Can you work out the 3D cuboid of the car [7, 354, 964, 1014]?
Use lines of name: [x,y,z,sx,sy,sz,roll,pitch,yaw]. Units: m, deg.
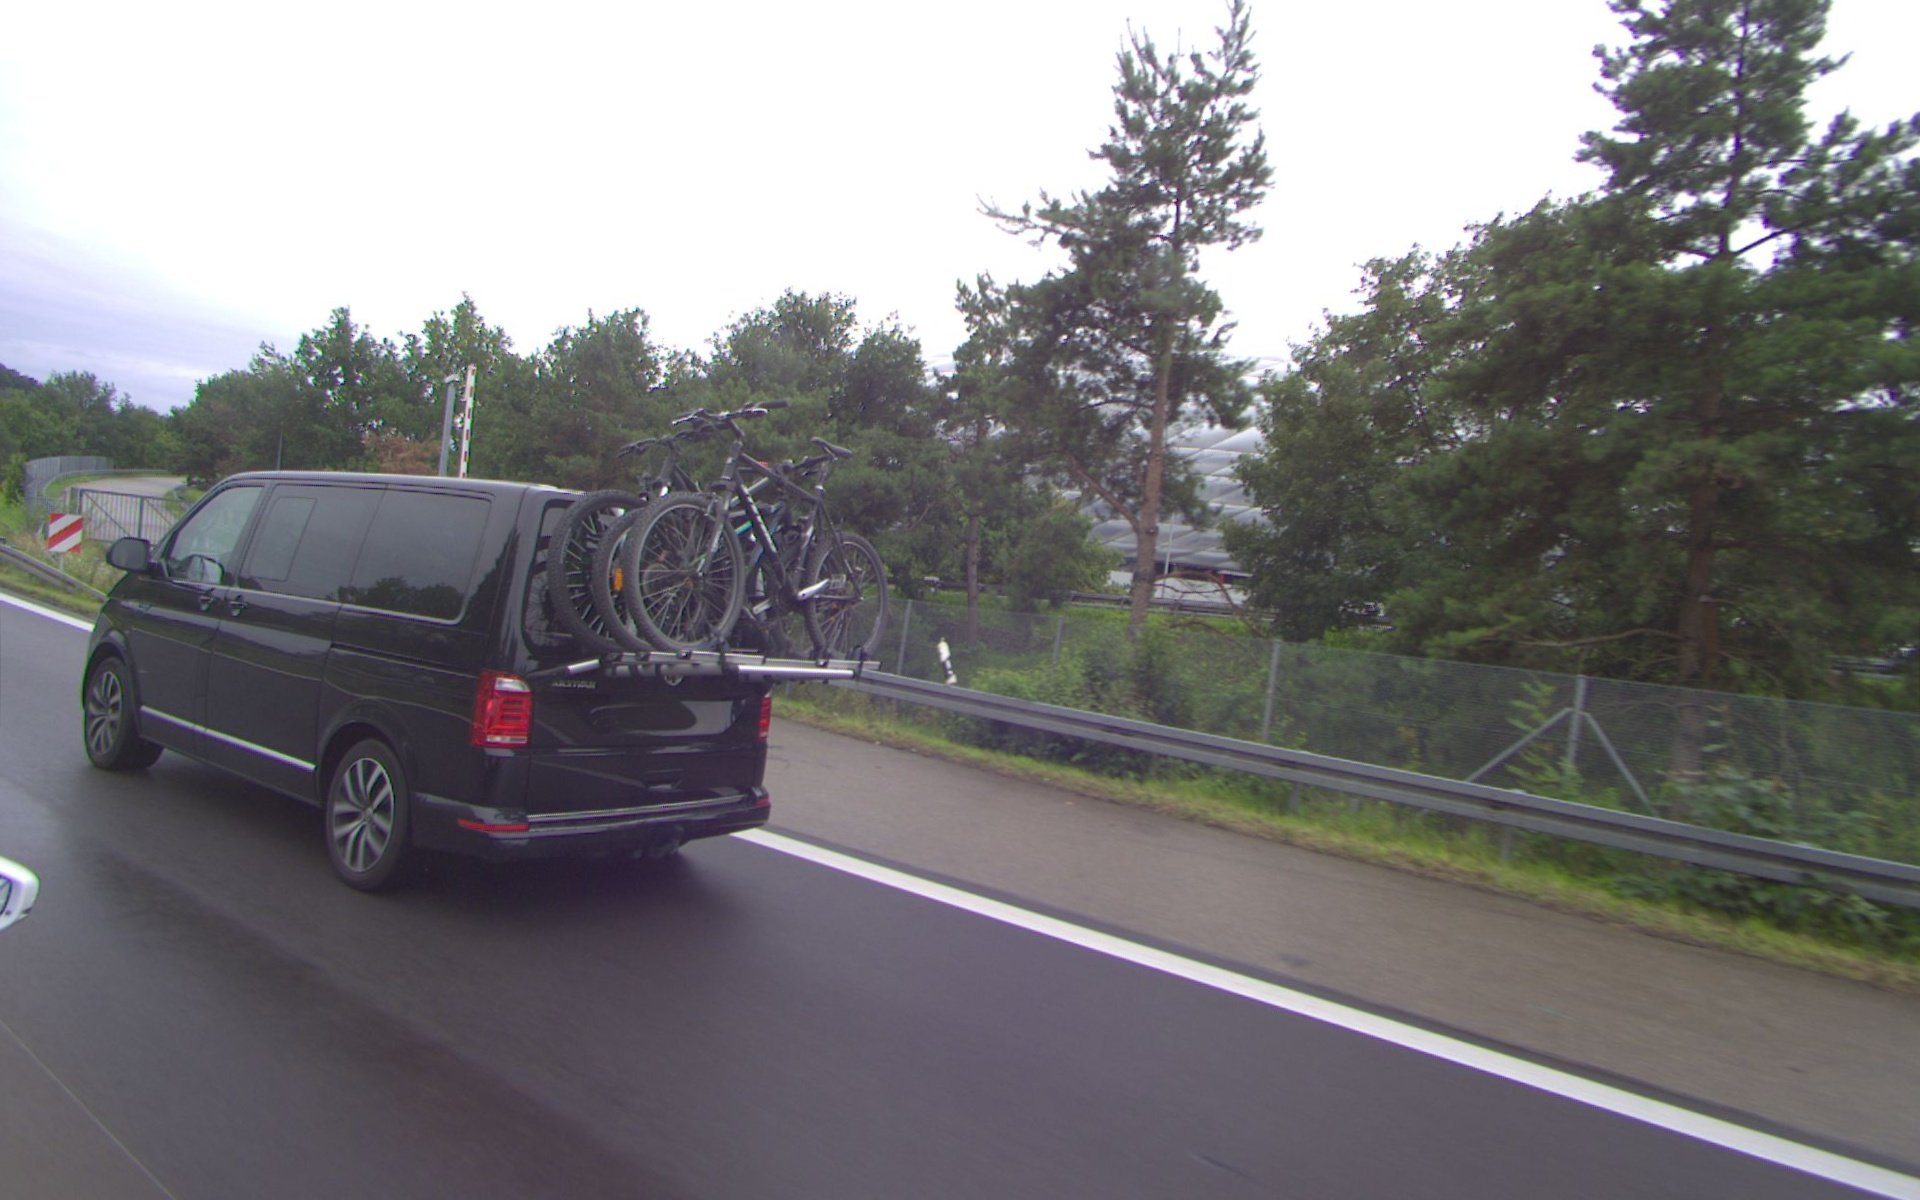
car: [-3.102,0.123,5.926,5.800,2.290,2.114,7,-2,32]
